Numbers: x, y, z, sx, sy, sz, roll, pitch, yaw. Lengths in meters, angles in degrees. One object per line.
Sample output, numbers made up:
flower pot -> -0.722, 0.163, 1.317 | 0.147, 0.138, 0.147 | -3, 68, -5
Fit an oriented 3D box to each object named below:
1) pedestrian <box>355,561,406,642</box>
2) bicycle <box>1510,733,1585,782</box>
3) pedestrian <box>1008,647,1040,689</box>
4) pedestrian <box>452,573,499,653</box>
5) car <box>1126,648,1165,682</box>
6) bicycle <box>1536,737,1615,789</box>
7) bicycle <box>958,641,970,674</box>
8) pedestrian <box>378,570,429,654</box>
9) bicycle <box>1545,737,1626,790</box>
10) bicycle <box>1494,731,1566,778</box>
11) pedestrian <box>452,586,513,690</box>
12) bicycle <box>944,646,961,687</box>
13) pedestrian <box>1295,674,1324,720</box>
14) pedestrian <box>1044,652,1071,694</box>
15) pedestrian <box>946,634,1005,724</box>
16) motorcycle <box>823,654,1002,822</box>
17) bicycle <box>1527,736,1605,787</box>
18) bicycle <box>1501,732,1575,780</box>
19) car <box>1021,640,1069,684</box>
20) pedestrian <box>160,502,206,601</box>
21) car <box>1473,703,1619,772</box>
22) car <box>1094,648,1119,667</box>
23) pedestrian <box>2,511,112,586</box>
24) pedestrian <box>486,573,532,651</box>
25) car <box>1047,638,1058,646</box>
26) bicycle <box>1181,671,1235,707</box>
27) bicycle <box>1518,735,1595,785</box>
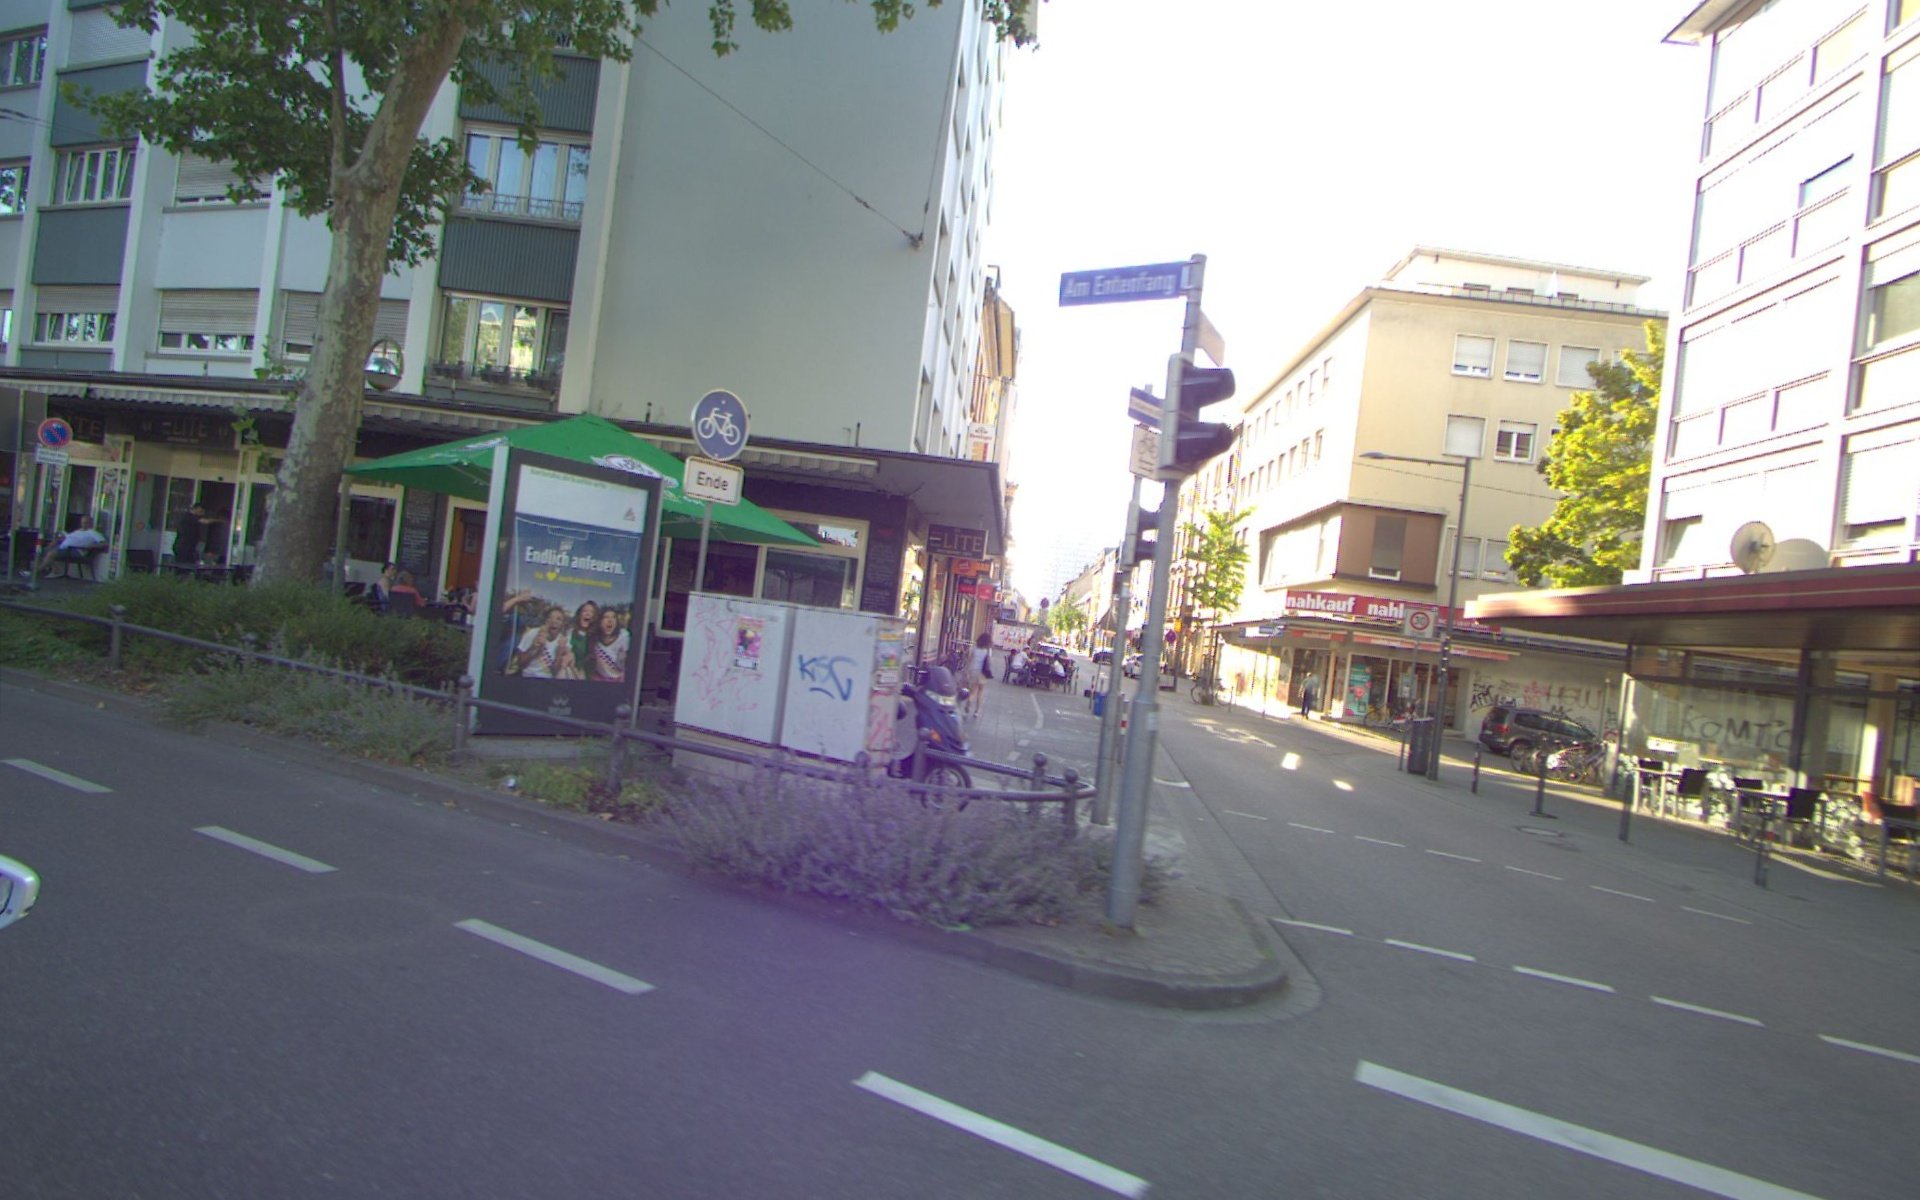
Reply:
pedestrian -> -9.513, 0.032, 16.514 | 0.443, 1.252, 0.400 | 7, 0, 5
bicycle -> 14.897, 3.998, 25.522 | 1.577, 0.993, 0.357 | 7, -1, 3
pedestrian -> 2.113, 2.246, 33.350 | 0.721, 1.257, 0.551 | 7, -2, 38
pedestrian -> -7.972, 0.219, 16.560 | 0.444, 1.252, 0.399 | 7, 0, 33
car -> 10.949, 3.881, 59.621 | 1.807, 1.680, 4.006 | 8, -3, 7
bicycle -> 14.846, 3.929, 24.276 | 1.577, 0.993, 0.357 | 7, -1, 3
bicycle -> 0.166, 2.077, 36.647 | 0.289, 1.054, 1.717 | 5, 1, 2
pedestrian -> -8.738, 0.193, 15.797 | 0.392, 1.252, 0.452 | 7, 0, 4
bicycle -> 14.837, 3.879, 23.878 | 1.577, 0.993, 0.357 | 7, -1, 3
bicycle -> 14.917, 4.041, 26.342 | 1.577, 0.993, 0.357 | 7, -1, 3
pedestrian -> -6.062, 0.488, 12.763 | 0.444, 1.252, 0.398 | 7, 0, 34
bicycle -> -0.197, 1.810, 27.745 | 0.289, 1.053, 1.719 | 5, -2, 2
pedestrian -> 12.842, 3.565, 36.995 | 0.653, 1.593, 0.695 | 8, -2, 7
pedestrian -> 3.228, 2.412, 33.317 | 0.681, 1.257, 0.598 | 8, -2, 0
pedestrian -> 0.288, 1.472, 18.762 | 0.594, 1.566, 0.715 | 7, -2, 35
motorcycle -> -0.429, 1.137, 8.525 | 0.569, 1.171, 1.443 | 10, -3, -44
bicycle -> 14.875, 3.967, 24.697 | 1.577, 0.993, 0.357 | 7, -1, 3
bicycle -> 14.897, 4.019, 25.950 | 1.577, 0.993, 0.357 | 7, -1, 3
car -> 3.708, 2.699, 44.353 | 1.808, 1.513, 4.002 | 9, -1, 4
pedestrian -> -14.210, -0.887, 18.396 | 0.304, 1.737, 0.358 | 8, -2, 28
car -> 19.326, 4.529, 33.289 | 3.661, 1.607, 1.660 | 7, -1, 6
car -> 12.104, 4.793, 83.229 | 1.807, 1.238, 4.006 | 9, -3, 7
pedestrian -> -17.175, -0.959, 19.149 | 0.909, 1.211, 1.182 | 7, -1, 21
pedestrian -> -7.717, 0.207, 17.213 | 0.444, 1.252, 0.399 | 7, 0, 33
car -> 17.135, 7.803, 186.842 | 1.807, 1.323, 4.003 | 7, -1, 5
bicycle -> 9.765, 3.493, 39.680 | 1.875, 1.138, 0.510 | 7, 0, 2
bicycle -> 14.885, 3.987, 25.120 | 1.577, 0.993, 0.357 | 7, -1, 3
